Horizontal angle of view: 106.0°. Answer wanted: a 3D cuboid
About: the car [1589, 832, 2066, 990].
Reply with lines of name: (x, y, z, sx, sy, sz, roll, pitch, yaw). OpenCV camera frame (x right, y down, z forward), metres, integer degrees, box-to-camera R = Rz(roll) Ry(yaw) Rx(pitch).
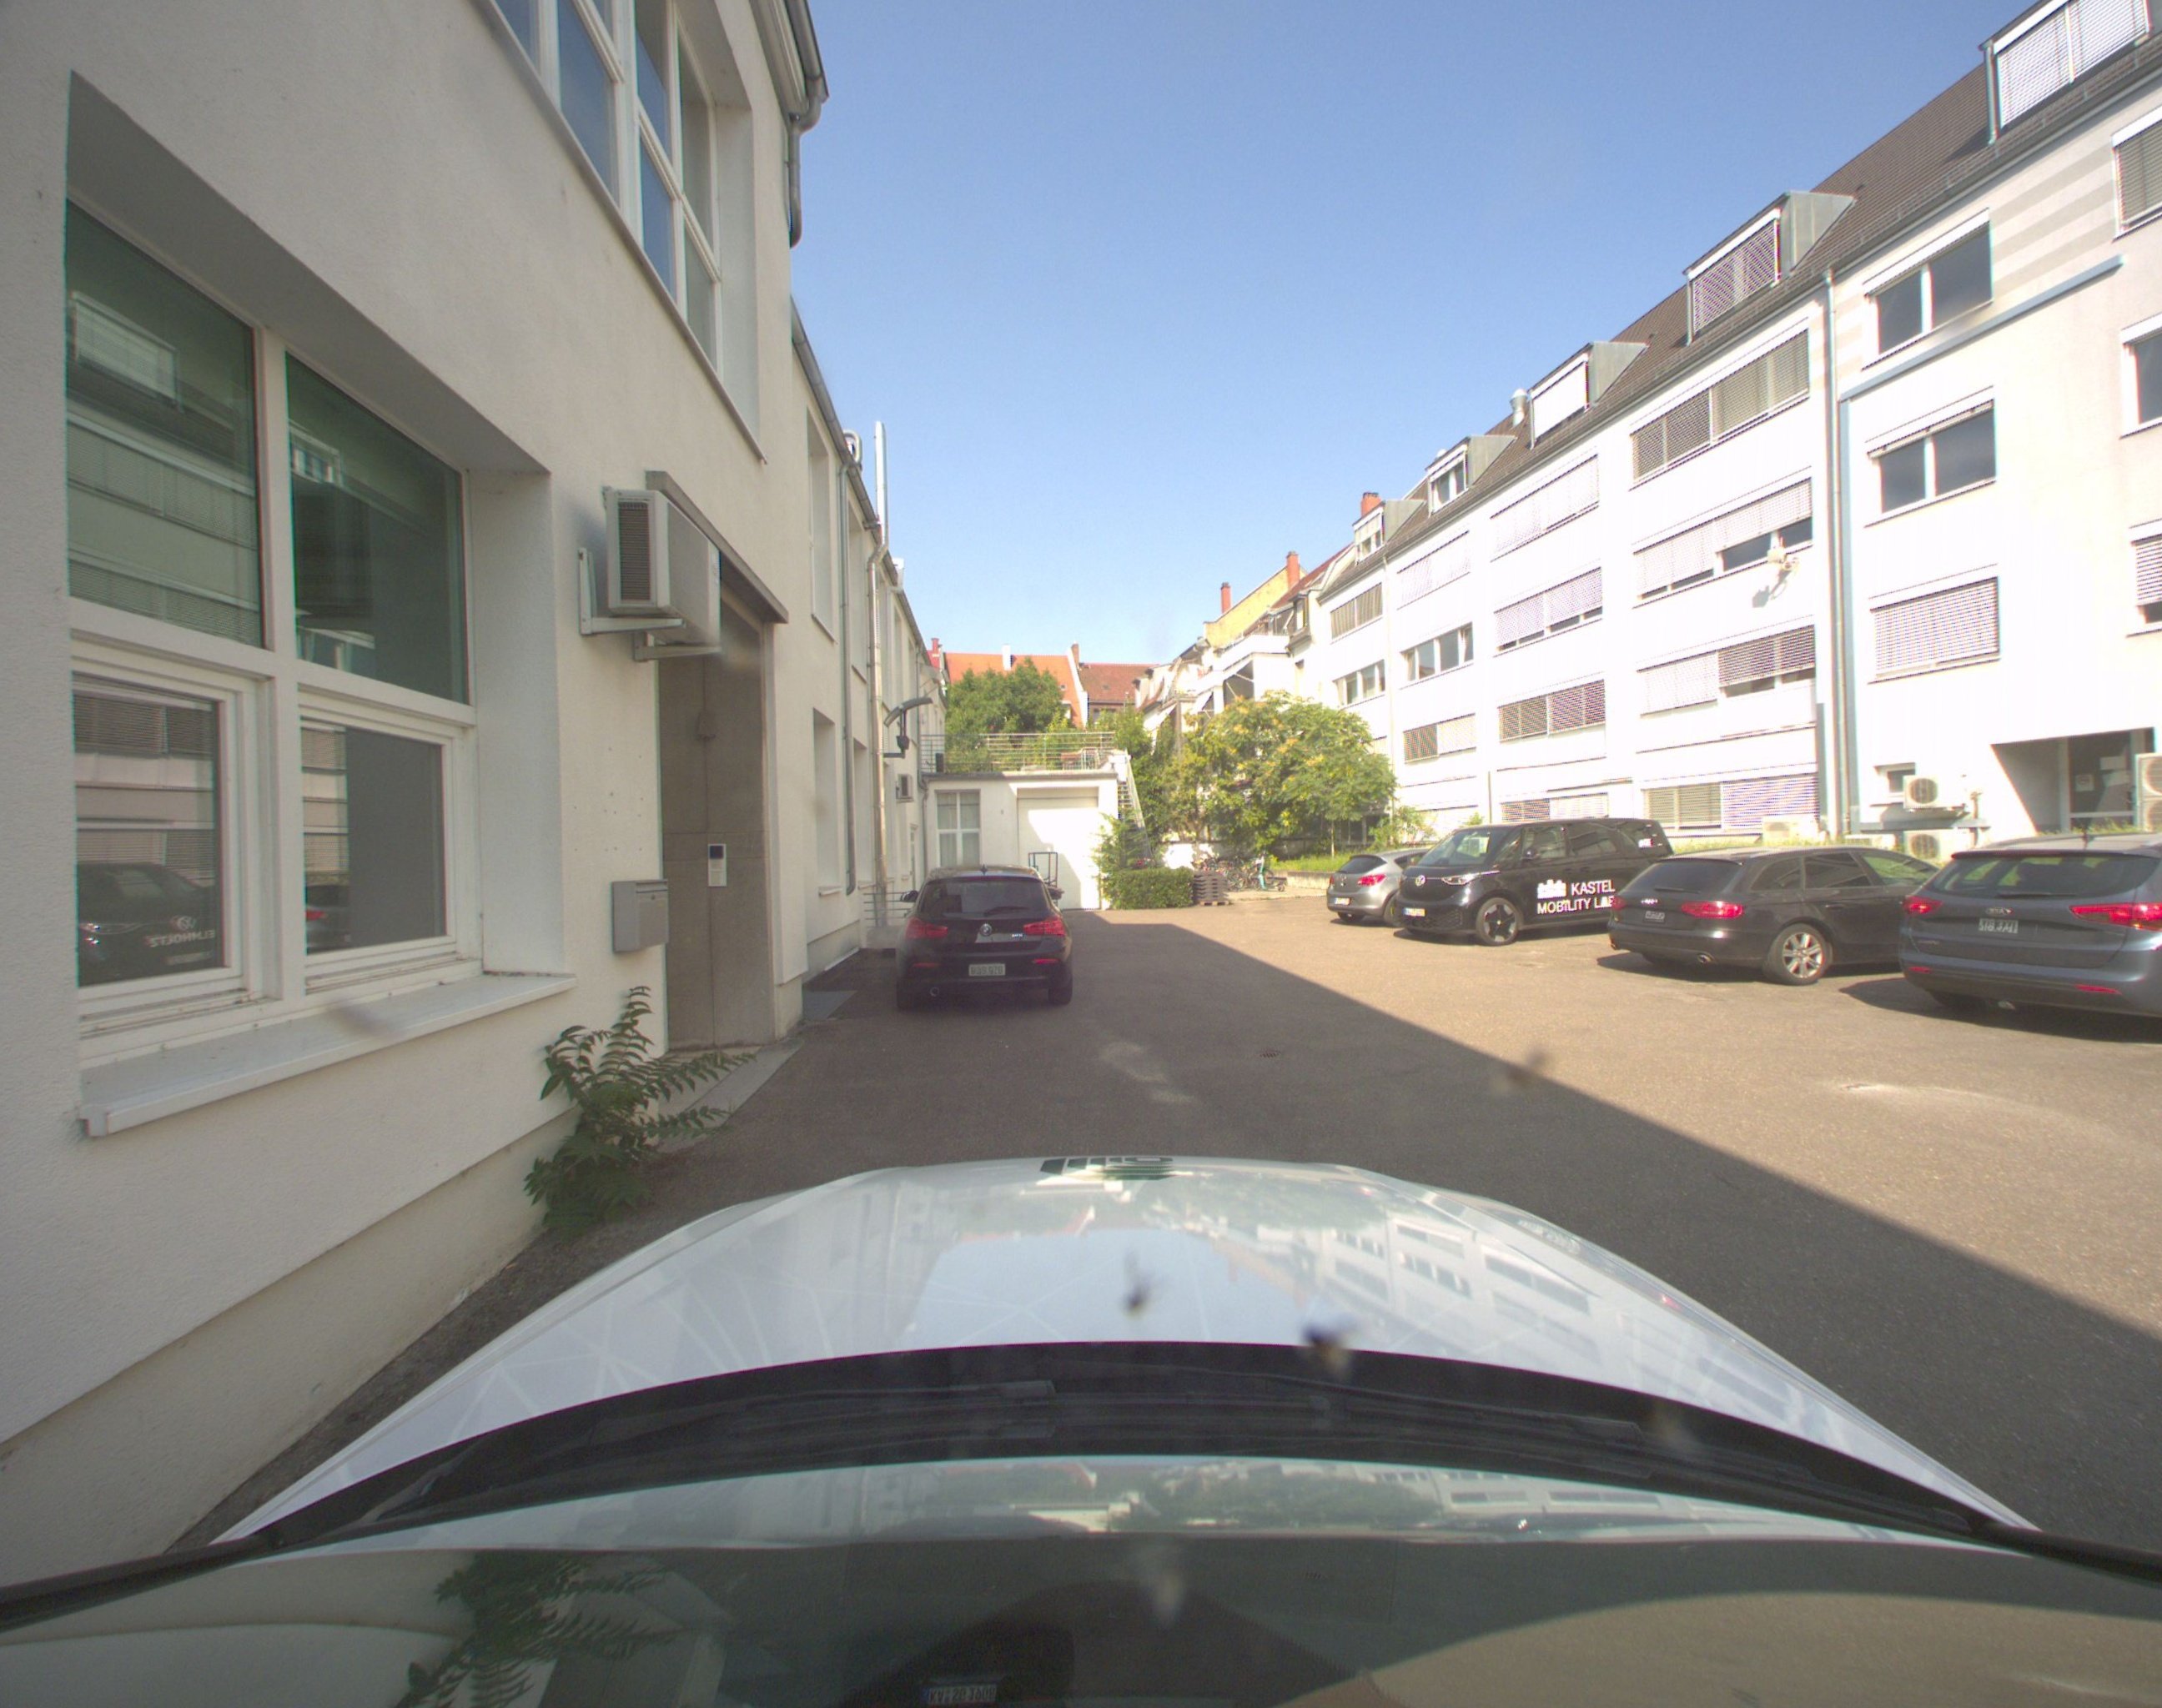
car: (8.341, 0.560, 9.270, 4.229, 1.437, 1.686, -2, 0, -8)

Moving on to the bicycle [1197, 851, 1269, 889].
bicycle: (5.272, 0.551, 28.349, 2.408, 1.246, 0.525, -1, 0, -6)

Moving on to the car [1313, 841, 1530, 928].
car: (6.818, 0.553, 16.360, 3.908, 1.466, 1.652, -2, 1, -19)

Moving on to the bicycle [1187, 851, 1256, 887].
bicycle: (5.128, 0.527, 29.686, 2.408, 1.246, 0.525, -1, 0, -6)

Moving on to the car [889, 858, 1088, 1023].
car: (-1.120, 0.795, 9.549, 1.792, 1.428, 4.125, -1, 0, -8)

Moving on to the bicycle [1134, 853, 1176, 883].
bicycle: (3.139, 0.563, 34.382, 2.004, 1.143, 0.484, -3, 1, -40)

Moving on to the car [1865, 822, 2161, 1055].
car: (8.896, 0.497, 6.526, 4.048, 1.478, 1.736, -2, 0, -11)

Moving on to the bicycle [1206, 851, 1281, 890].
bicycle: (5.498, 0.546, 27.589, 2.408, 1.246, 0.525, -1, 0, -6)

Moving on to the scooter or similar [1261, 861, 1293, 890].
scooter or similar: (6.379, 0.696, 26.527, 0.362, 0.924, 0.987, -1, 0, -43)

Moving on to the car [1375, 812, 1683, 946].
car: (7.353, 0.339, 13.479, 4.343, 1.859, 1.905, -2, 0, -16)

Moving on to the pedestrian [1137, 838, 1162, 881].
pedestrian: (2.906, 0.231, 34.493, 0.614, 1.771, 0.851, -1, 0, -41)

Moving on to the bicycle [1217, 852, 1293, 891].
bicycle: (5.760, 0.572, 26.964, 2.408, 1.246, 0.525, -1, 0, -6)

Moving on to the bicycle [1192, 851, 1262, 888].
bicycle: (5.196, 0.545, 29.065, 2.408, 1.246, 0.525, -1, 0, -6)
